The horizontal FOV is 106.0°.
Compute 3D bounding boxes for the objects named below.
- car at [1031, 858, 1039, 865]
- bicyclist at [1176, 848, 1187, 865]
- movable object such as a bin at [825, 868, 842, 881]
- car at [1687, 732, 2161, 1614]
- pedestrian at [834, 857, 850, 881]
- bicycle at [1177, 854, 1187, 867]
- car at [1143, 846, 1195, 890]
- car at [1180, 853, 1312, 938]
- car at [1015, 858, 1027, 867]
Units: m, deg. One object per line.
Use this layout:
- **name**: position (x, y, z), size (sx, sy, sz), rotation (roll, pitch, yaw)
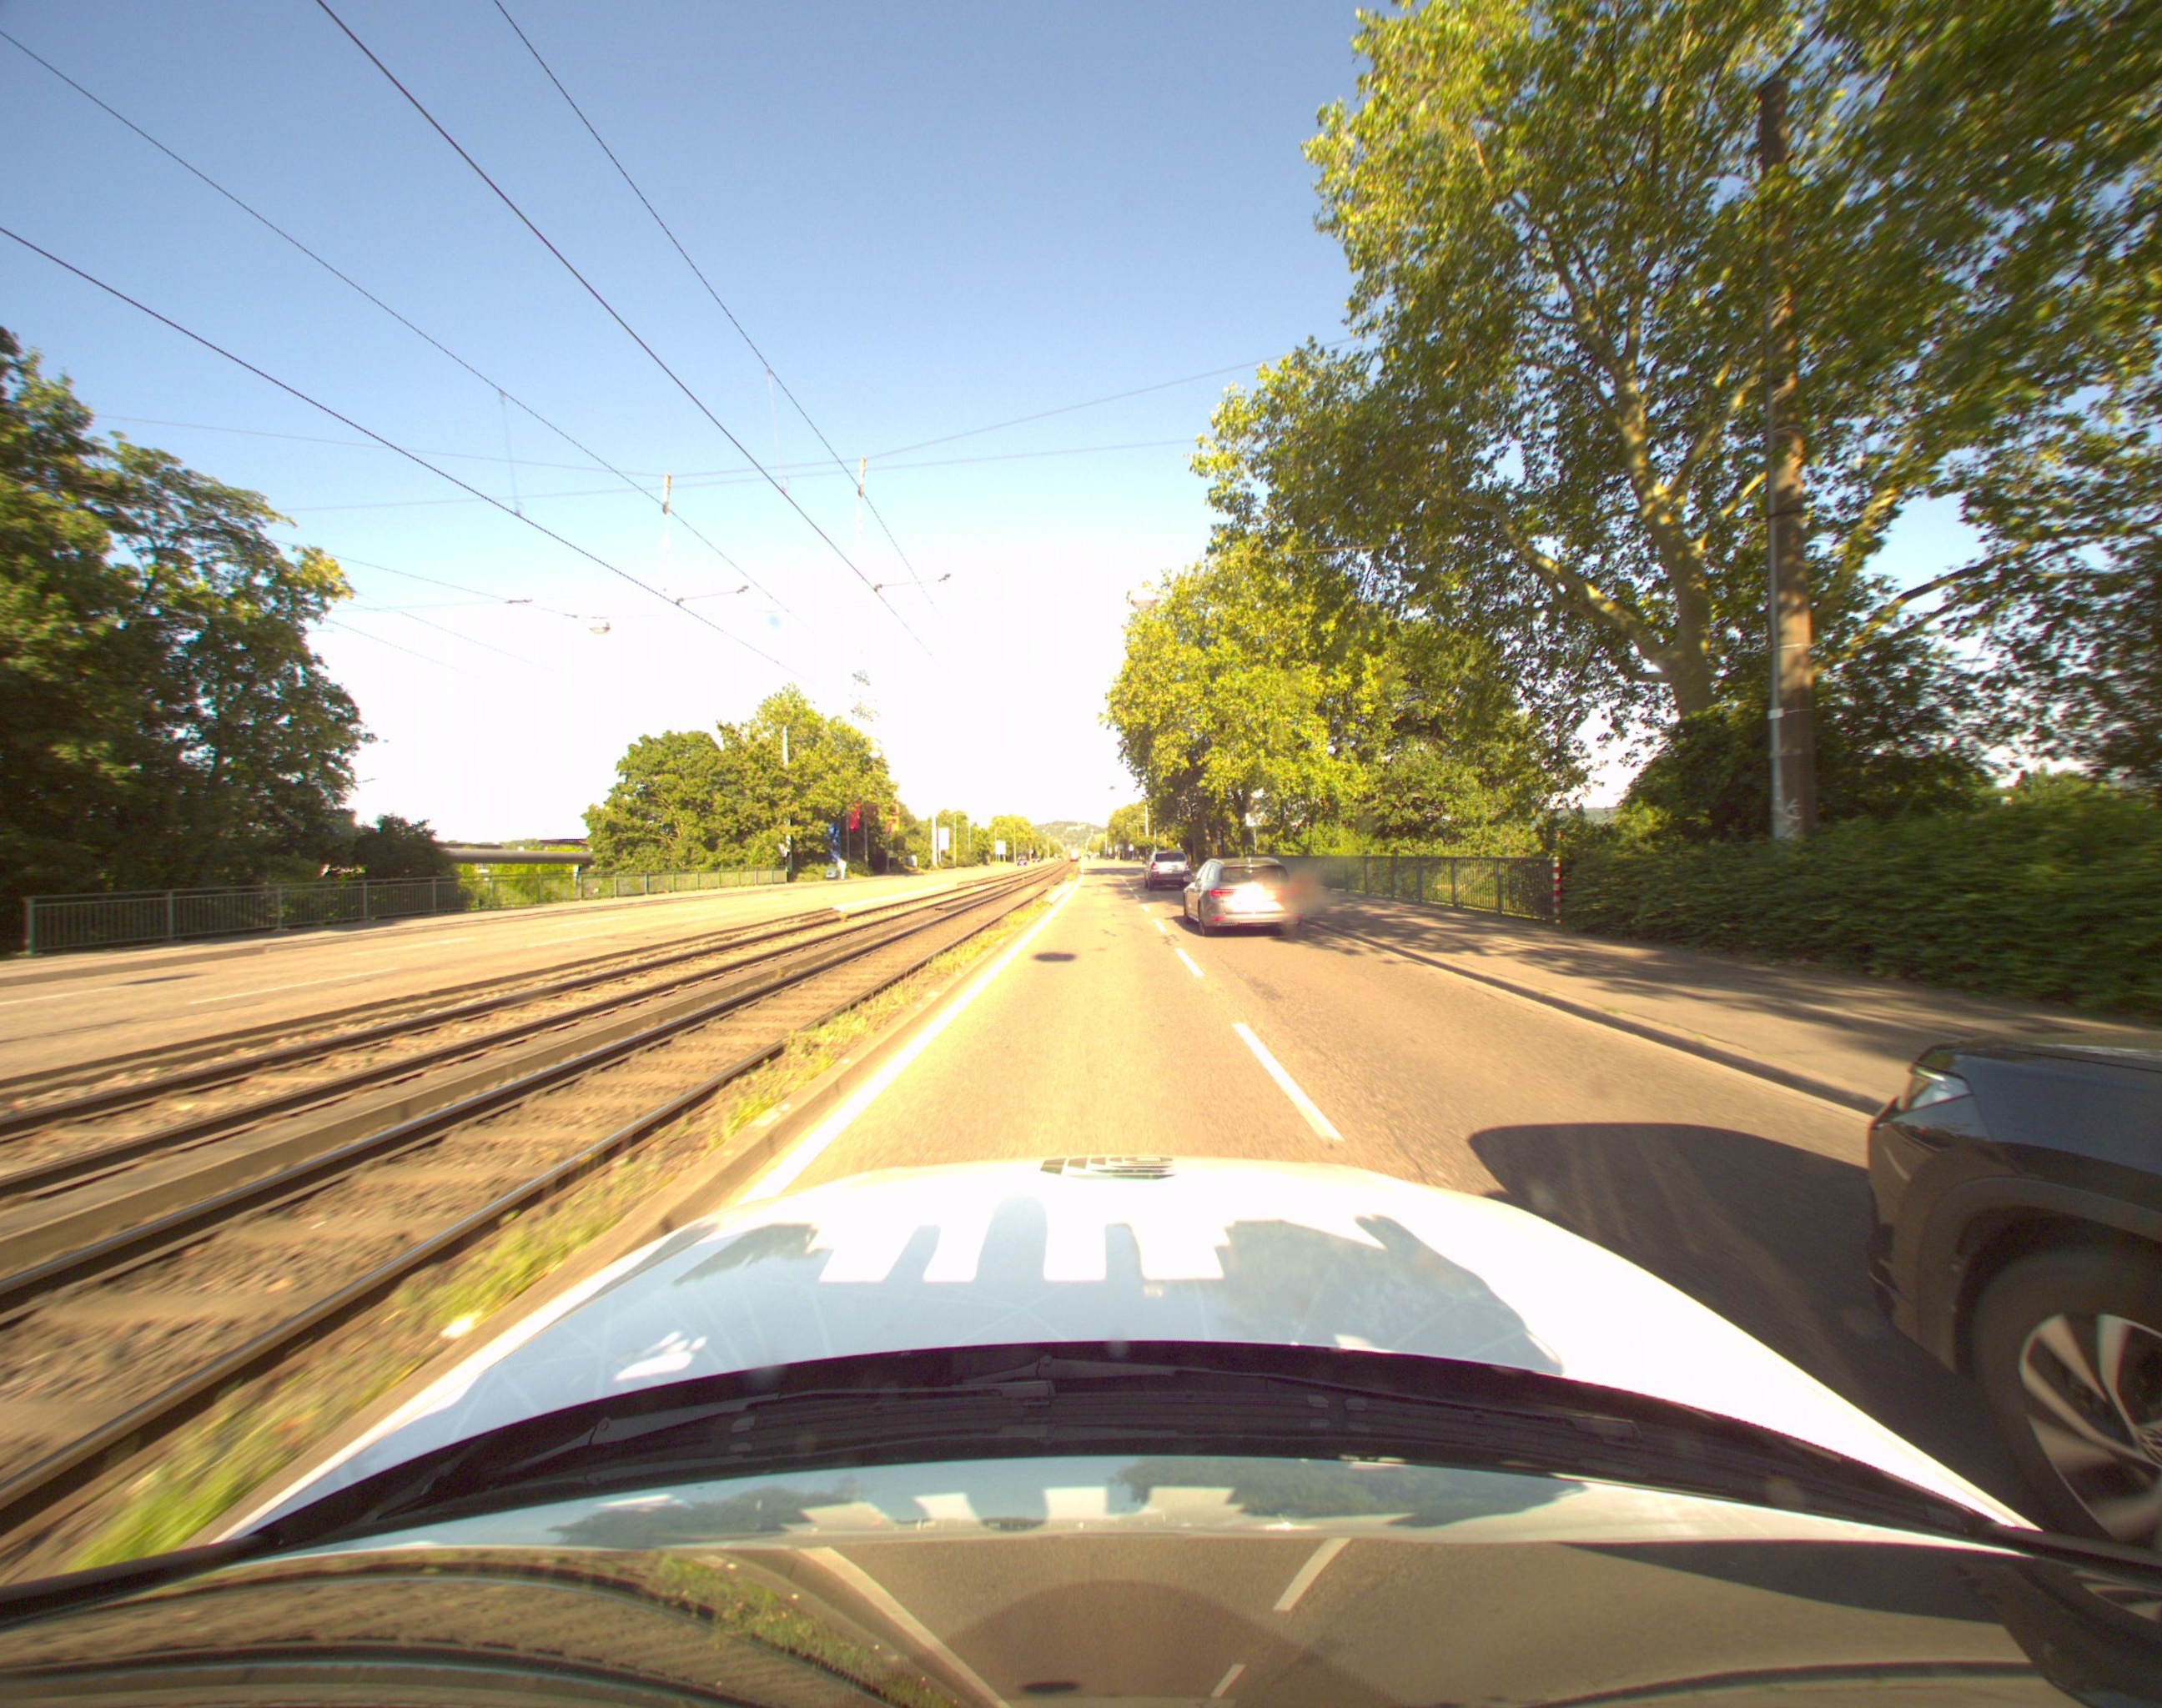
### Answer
- **car**: position (-12.154, 1.987, 216.718), size (1.900, 1.643, 3.998), rotation (1, 1, -2)
- **bicyclist**: position (8.913, 0.230, 72.181), size (0.791, 1.460, 1.113), rotation (-4, 0, 4)
- **movable object such as a bin**: position (-18.827, 1.537, 61.951), size (0.718, 0.961, 1.107), rotation (1, -1, 23)
- **car**: position (2.928, 0.583, 0.492), size (1.838, 1.661, 4.440), rotation (-1, 0, 1)
- **pedestrian**: position (-18.450, 1.160, 62.852), size (0.718, 1.756, 0.840), rotation (1, -1, 22)
- **bicycle**: position (8.940, 0.583, 72.199), size (0.791, 1.094, 1.896), rotation (-4, 0, 4)
- **car**: position (3.794, 0.550, 35.652), size (1.877, 1.795, 4.000), rotation (1, 1, 0)
- **car**: position (3.170, 0.738, 16.577), size (1.859, 1.467, 4.667), rotation (-1, 0, 2)
- **car**: position (-11.521, 1.638, 157.041), size (1.856, 1.720, 4.000), rotation (-1, 1, 1)
